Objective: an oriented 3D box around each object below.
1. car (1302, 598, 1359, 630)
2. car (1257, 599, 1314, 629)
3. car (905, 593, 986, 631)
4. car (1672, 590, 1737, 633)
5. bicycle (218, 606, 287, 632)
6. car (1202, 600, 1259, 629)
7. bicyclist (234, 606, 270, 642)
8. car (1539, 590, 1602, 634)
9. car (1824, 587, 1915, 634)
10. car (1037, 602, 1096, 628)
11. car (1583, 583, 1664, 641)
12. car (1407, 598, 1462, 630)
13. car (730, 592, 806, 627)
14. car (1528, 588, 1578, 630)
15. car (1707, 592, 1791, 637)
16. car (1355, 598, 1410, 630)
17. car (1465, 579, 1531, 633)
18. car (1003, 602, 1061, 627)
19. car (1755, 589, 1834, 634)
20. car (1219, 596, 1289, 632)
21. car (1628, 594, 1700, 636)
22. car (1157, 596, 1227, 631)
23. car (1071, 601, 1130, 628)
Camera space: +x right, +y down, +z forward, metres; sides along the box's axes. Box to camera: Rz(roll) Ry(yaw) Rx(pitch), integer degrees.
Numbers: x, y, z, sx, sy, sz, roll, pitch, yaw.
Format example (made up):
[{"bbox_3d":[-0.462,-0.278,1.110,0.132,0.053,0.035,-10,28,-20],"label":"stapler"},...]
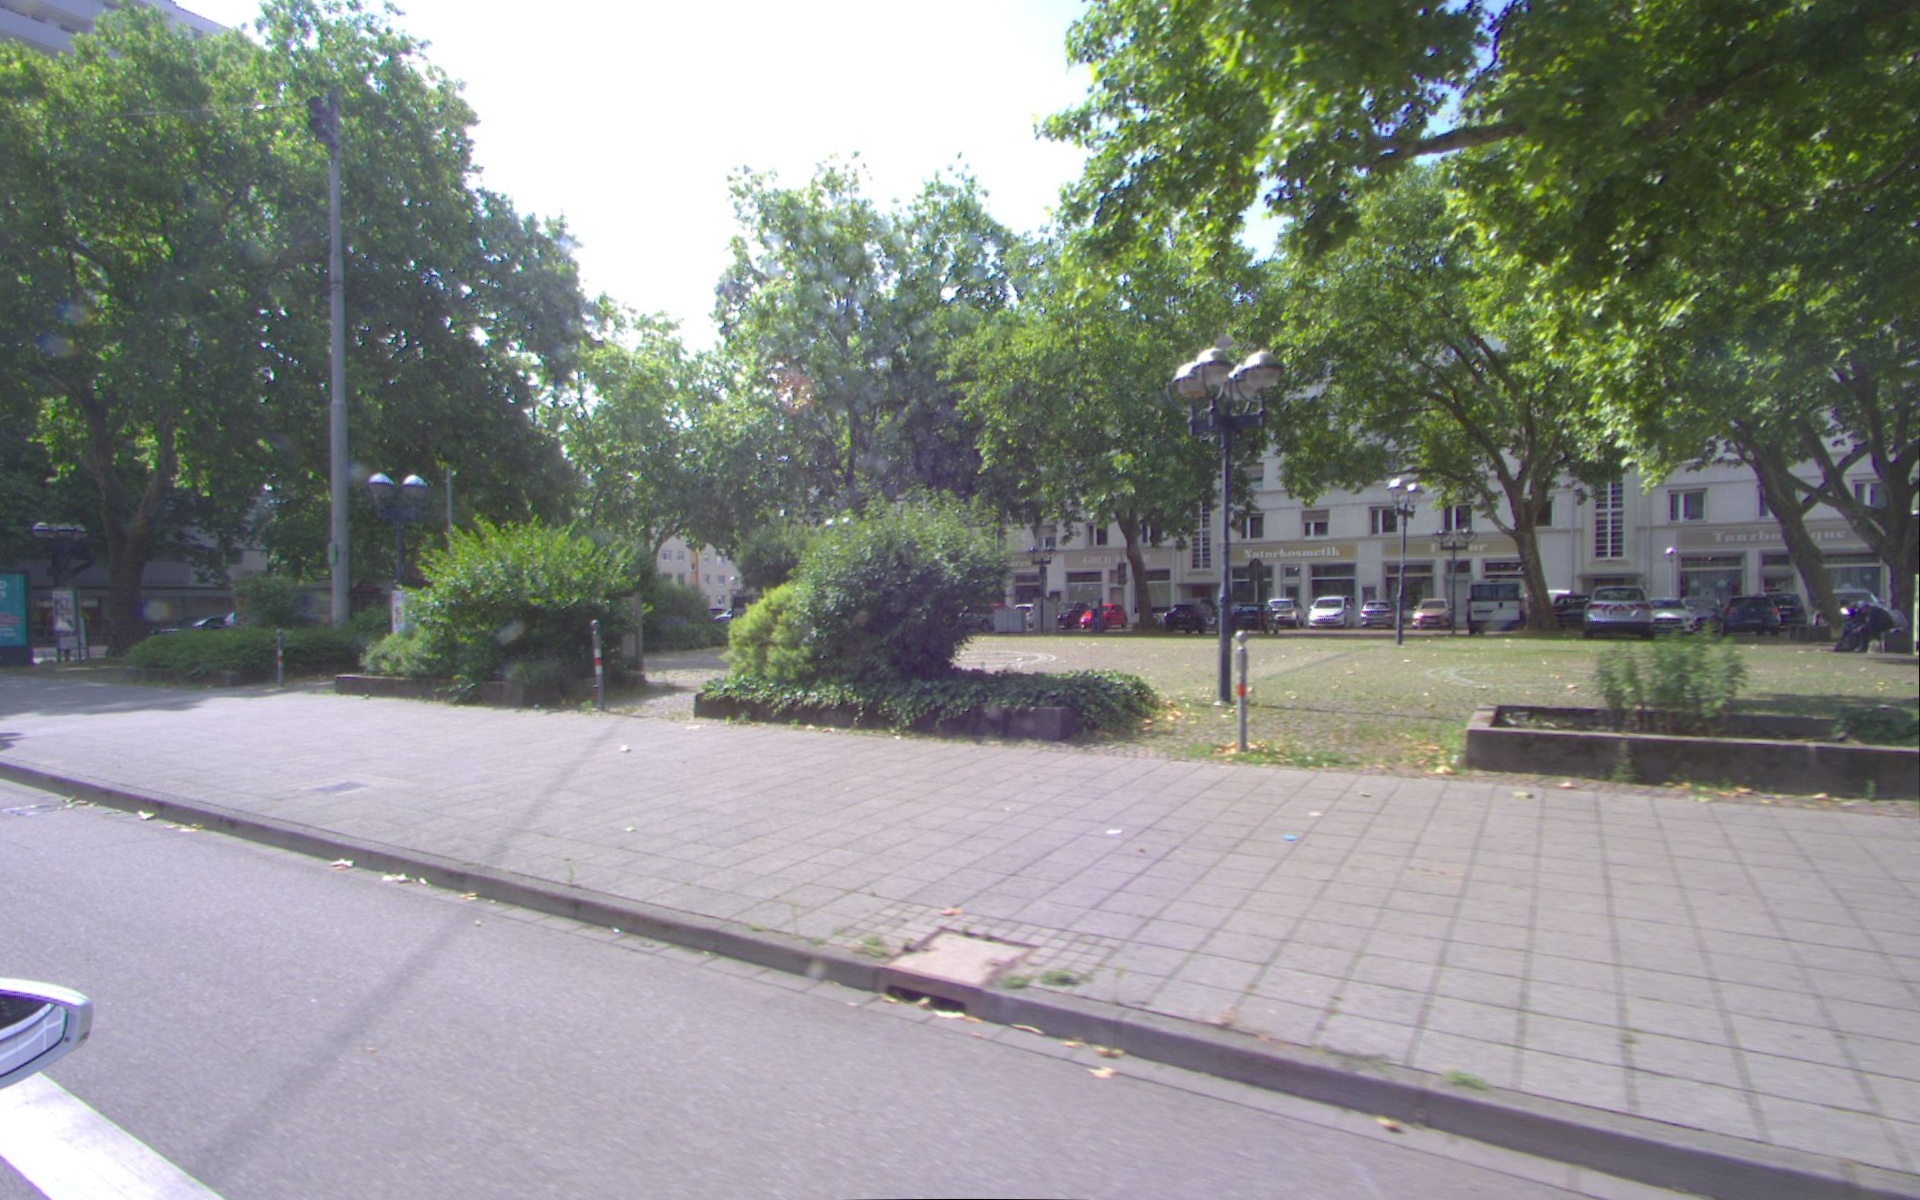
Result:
[{"bbox_3d":[19.900,0.717,53.646,1.958,1.570,4.671,0,0,32],"label":"car"},{"bbox_3d":[17.934,0.758,55.074,1.958,1.570,4.415,0,0,32],"label":"car"},{"bbox_3d":[-0.738,0.627,54.953,2.161,1.955,4.668,0,0,34],"label":"car"},{"bbox_3d":[33.801,0.487,45.560,2.161,1.828,4.730,0,0,34],"label":"car"},{"bbox_3d":[-30.620,0.820,43.367,0.882,1.062,2.300,0,0,26],"label":"bicycle"},{"bbox_3d":[15.300,0.793,56.549,1.958,1.541,4.245,0,0,32],"label":"car"},{"bbox_3d":[-30.617,1.030,43.305,0.768,1.532,0.996,0,1,28],"label":"bicyclist"},{"bbox_3d":[23.558,0.439,38.644,1.971,1.615,4.245,0,0,32],"label":"car"},{"bbox_3d":[38.111,0.407,42.094,2.161,1.828,4.730,0,0,34],"label":"car"},{"bbox_3d":[6.693,0.891,62.543,1.958,1.541,4.245,0,0,32],"label":"car"},{"bbox_3d":[20.545,0.334,31.130,1.971,1.658,4.143,0,0,32],"label":"car"},{"bbox_3d":[24.379,0.690,51.374,2.008,1.570,4.671,0,0,32],"label":"car"},{"bbox_3d":[-11.633,0.560,60.921,2.048,2.040,4.403,0,0,33],"label":"car"},{"bbox_3d":[28.872,0.419,48.684,2.008,1.955,4.671,0,0,32],"label":"car"},{"bbox_3d":[28.618,0.481,36.438,1.971,1.544,4.143,0,0,32],"label":"car"},{"bbox_3d":[22.252,0.708,52.686,1.958,1.570,4.671,0,0,32],"label":"car"},{"bbox_3d":[21.580,0.218,40.065,2.047,2.040,4.245,0,0,32],"label":"car"},{"bbox_3d":[4.690,0.900,64.323,1.958,1.541,4.245,0,0,32],"label":"car"},{"bbox_3d":[36.154,0.456,43.491,2.161,1.828,4.668,0,0,34],"label":"car"},{"bbox_3d":[13.423,0.606,45.572,1.958,1.541,4.245,0,0,32],"label":"car"},{"bbox_3d":[25.884,0.521,36.943,1.931,1.440,4.156,0,0,32],"label":"car"},{"bbox_3d":[10.940,0.613,47.075,1.958,1.541,4.245,0,0,32],"label":"car"},{"bbox_3d":[8.598,0.875,60.983,1.958,1.541,4.245,0,0,32],"label":"car"}]
